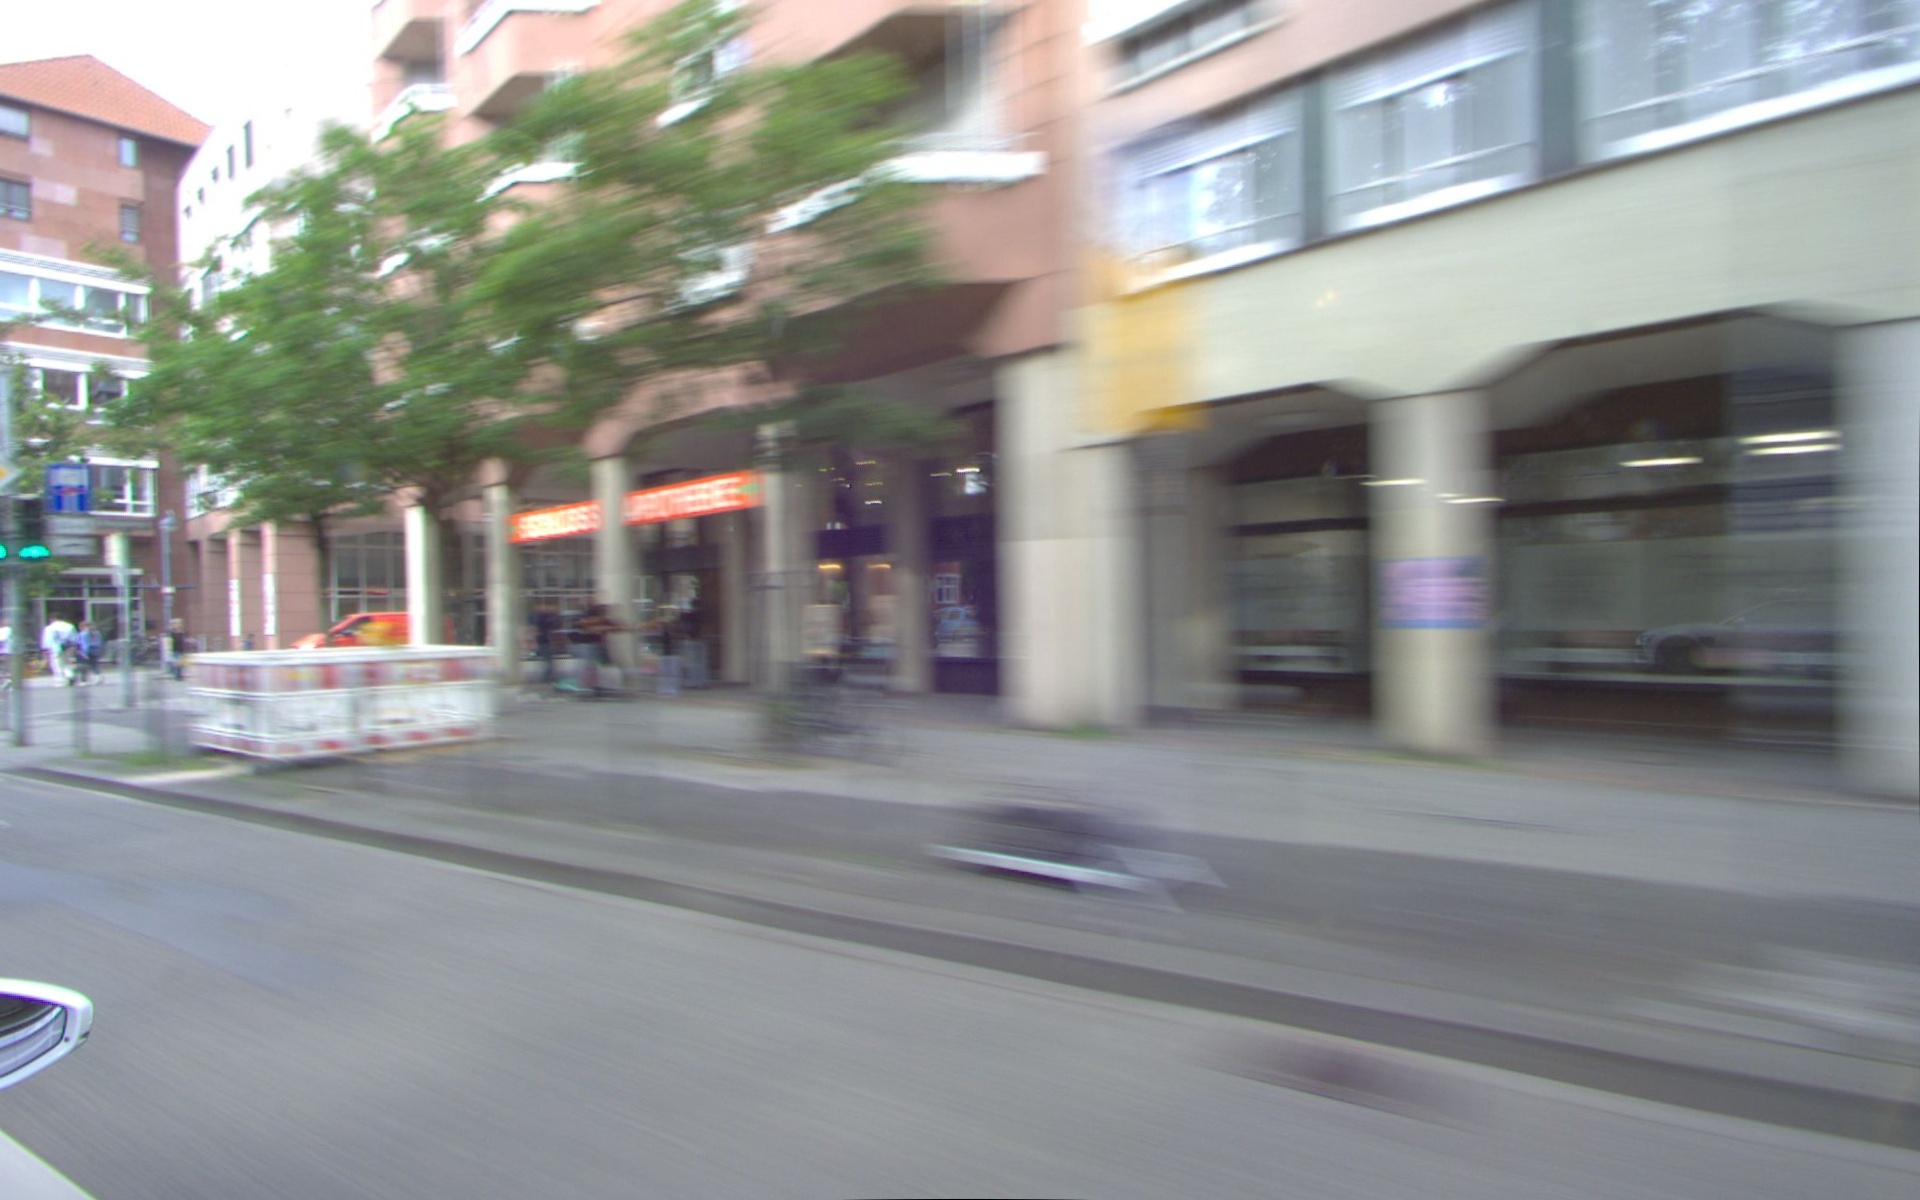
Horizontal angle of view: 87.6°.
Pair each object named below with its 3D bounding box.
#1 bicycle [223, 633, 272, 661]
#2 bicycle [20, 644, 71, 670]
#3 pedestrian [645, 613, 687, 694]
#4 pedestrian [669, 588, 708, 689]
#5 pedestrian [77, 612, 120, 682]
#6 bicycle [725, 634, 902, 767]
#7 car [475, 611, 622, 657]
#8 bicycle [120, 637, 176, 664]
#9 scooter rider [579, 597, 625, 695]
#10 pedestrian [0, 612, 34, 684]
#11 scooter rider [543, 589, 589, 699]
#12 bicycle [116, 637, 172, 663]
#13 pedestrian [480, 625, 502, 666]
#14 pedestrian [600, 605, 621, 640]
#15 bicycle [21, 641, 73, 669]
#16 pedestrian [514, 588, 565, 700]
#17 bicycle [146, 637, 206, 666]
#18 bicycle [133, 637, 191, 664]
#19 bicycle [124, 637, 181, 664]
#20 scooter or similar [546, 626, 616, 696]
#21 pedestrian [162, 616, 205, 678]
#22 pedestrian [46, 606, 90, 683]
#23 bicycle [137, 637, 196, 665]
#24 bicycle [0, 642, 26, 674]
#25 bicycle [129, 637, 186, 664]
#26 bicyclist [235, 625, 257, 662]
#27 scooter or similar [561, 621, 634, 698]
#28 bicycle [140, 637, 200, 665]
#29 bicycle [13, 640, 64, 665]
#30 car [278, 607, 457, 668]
[{"bbox_3d":[-24.963,1.640,35.093,1.297,0.927,0.474,-1,0,-21],"label":"bicycle"},{"bbox_3d":[-32.078,2.001,35.127,1.289,0.849,0.450,0,0,-41],"label":"bicycle"},{"bbox_3d":[-5.005,0.898,17.043,0.477,1.341,0.486,-1,0,28],"label":"pedestrian"},{"bbox_3d":[-5.030,0.702,18.528,0.545,1.823,0.654,-1,0,-28],"label":"pedestrian"},{"bbox_3d":[-21.774,1.169,25.320,1.010,1.723,0.649,-1,0,40],"label":"pedestrian"},{"bbox_3d":[-1.412,0.895,9.470,1.783,1.132,0.610,-1,0,39],"label":"bicycle"},{"bbox_3d":[-15.606,1.268,38.134,1.980,1.610,4.799,-4,-2,43],"label":"car"},{"bbox_3d":[-32.845,2.020,40.520,0.432,1.021,1.723,-1,-1,38],"label":"bicycle"},{"bbox_3d":[-5.875,0.739,16.433,0.557,1.577,0.459,-1,0,36],"label":"scooter rider"},{"bbox_3d":[-22.032,1.110,23.336,0.840,1.637,0.515,-1,0,38],"label":"pedestrian"},{"bbox_3d":[-6.364,0.699,16.170,0.546,1.743,0.461,-1,0,36],"label":"scooter rider"},{"bbox_3d":[-33.244,2.032,40.816,0.425,1.021,1.723,-1,-1,38],"label":"bicycle"},{"bbox_3d":[-18.816,1.810,40.179,0.572,1.600,0.646,-1,0,42],"label":"pedestrian"},{"bbox_3d":[-15.820,1.021,45.336,0.667,1.600,0.647,-1,0,41],"label":"pedestrian"},{"bbox_3d":[-32.781,1.958,35.972,1.286,0.880,0.450,-4,2,-37],"label":"bicycle"},{"bbox_3d":[-6.988,0.723,16.643,0.650,1.823,0.548,-1,0,43],"label":"pedestrian"},{"bbox_3d":[-30.058,1.959,38.405,0.539,1.021,1.723,-1,-1,38],"label":"bicycle"},{"bbox_3d":[-31.596,1.987,39.664,0.419,1.021,1.723,-1,-1,38],"label":"bicycle"},{"bbox_3d":[-32.420,2.008,40.239,0.465,1.021,1.723,-1,-1,38],"label":"bicycle"},{"bbox_3d":[-6.721,1.056,17.736,1.390,1.185,0.551,-1,0,41],"label":"scooter or similar"},{"bbox_3d":[-19.904,1.193,25.662,0.936,1.558,0.672,-1,0,39],"label":"pedestrian"},{"bbox_3d":[-22.019,1.088,24.719,0.840,1.852,0.673,-1,0,38],"label":"pedestrian"},{"bbox_3d":[-30.991,1.977,39.136,0.539,1.021,1.723,-1,-1,38],"label":"bicycle"},{"bbox_3d":[-31.739,1.929,33.361,1.713,1.021,0.615,-1,0,37],"label":"bicycle"},{"bbox_3d":[-31.992,1.998,39.942,0.473,1.021,1.723,-1,-1,38],"label":"bicycle"},{"bbox_3d":[-25.001,1.507,35.066,0.489,1.261,0.479,-1,0,-21],"label":"bicyclist"},{"bbox_3d":[-5.989,0.962,16.513,1.313,1.222,0.472,-1,0,36],"label":"scooter or similar"},{"bbox_3d":[-30.557,1.969,38.741,0.539,1.021,1.723,-1,-1,38],"label":"bicycle"},{"bbox_3d":[-32.597,1.863,35.444,1.287,0.824,0.441,0,0,-37],"label":"bicycle"},{"bbox_3d":[-19.745,1.221,33.531,1.980,1.848,4.799,-3,-2,43],"label":"car"}]
